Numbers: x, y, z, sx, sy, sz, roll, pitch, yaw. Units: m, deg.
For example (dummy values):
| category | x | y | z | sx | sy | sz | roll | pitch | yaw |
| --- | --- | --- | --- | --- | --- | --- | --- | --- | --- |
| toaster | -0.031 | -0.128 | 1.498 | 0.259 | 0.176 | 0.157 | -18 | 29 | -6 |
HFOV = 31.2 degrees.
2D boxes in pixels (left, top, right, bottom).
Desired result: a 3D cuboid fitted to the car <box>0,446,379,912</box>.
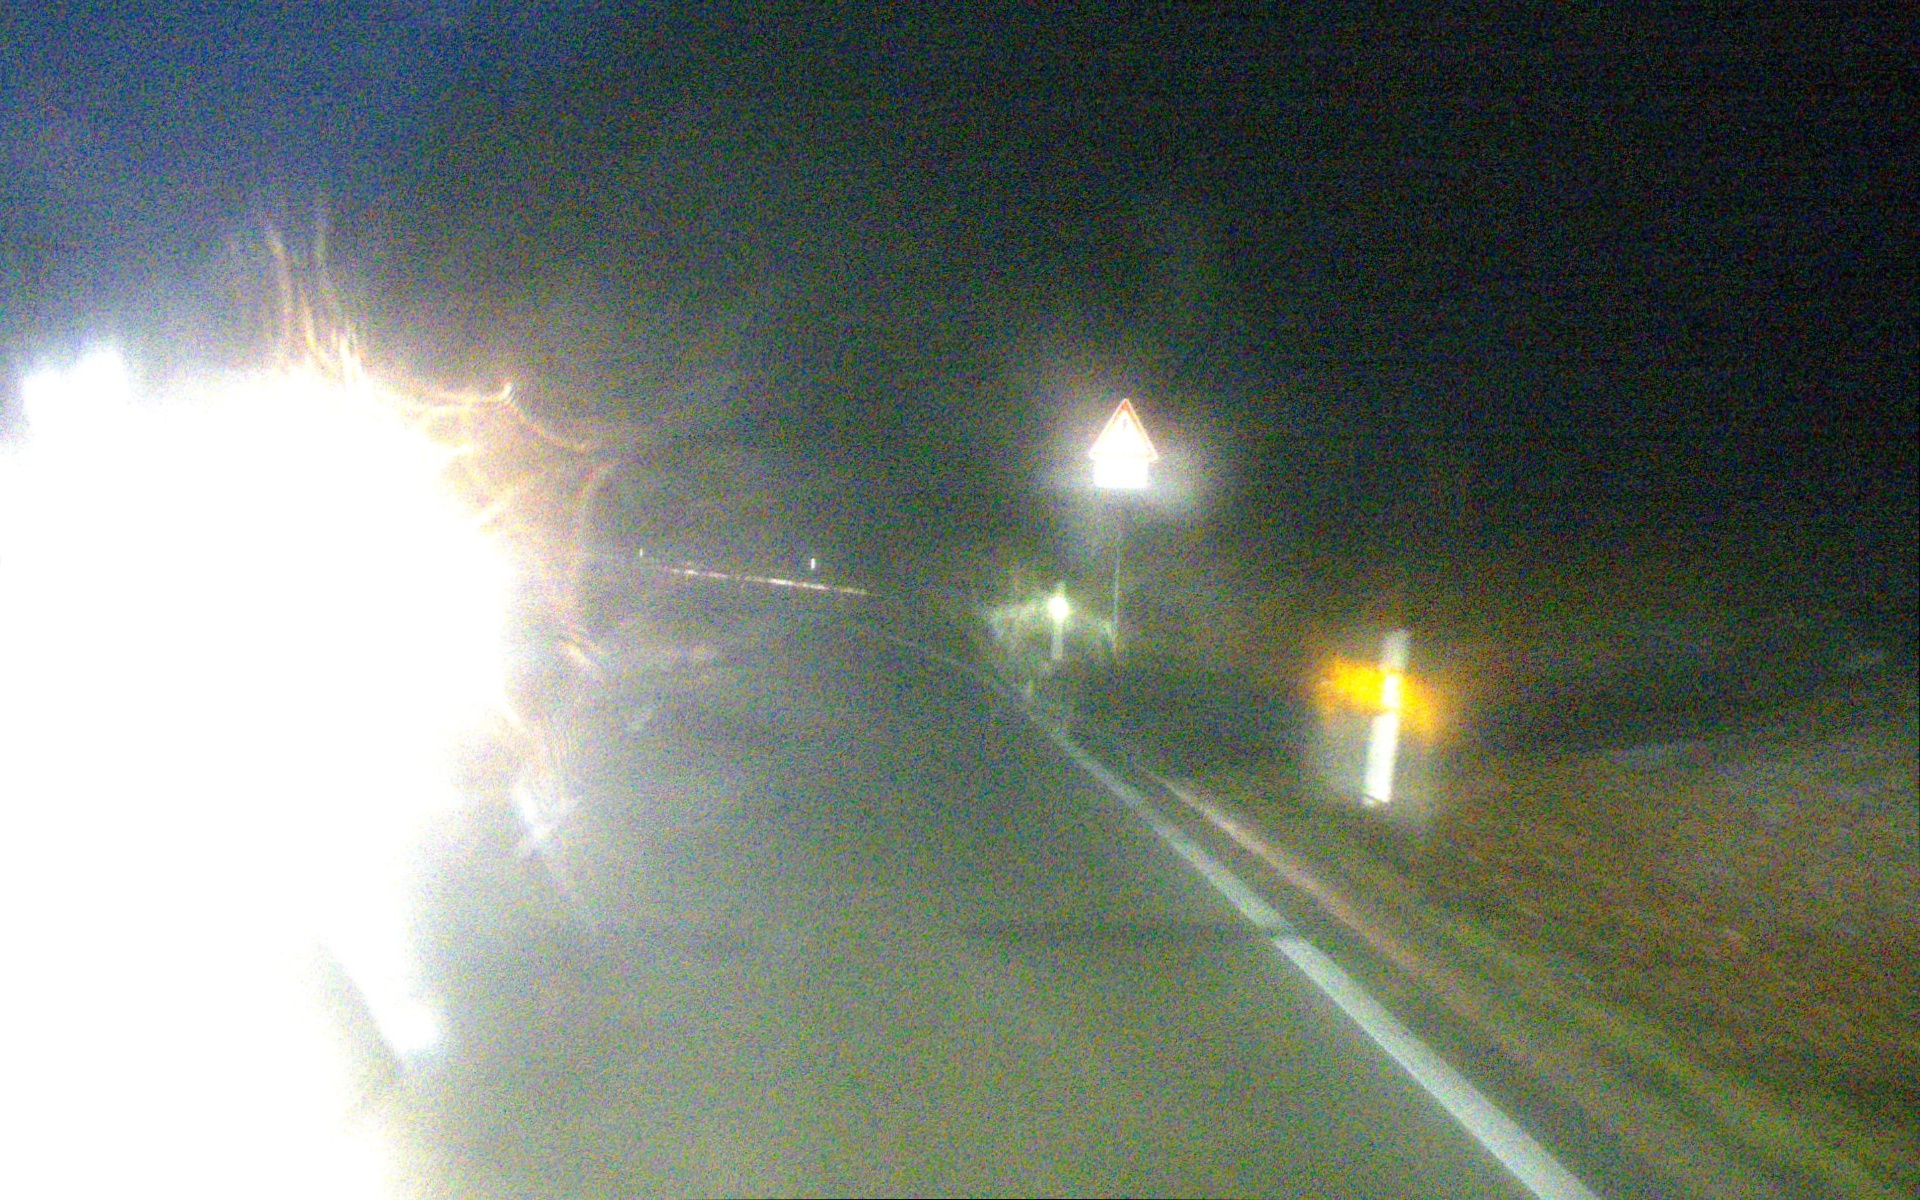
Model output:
| category | x | y | z | sx | sy | sz | roll | pitch | yaw |
| --- | --- | --- | --- | --- | --- | --- | --- | --- | --- |
| car | -3.825 | 0.268 | 15.084 | 1.993 | 1.744 | 4.258 | 1 | 0 | -3 |
